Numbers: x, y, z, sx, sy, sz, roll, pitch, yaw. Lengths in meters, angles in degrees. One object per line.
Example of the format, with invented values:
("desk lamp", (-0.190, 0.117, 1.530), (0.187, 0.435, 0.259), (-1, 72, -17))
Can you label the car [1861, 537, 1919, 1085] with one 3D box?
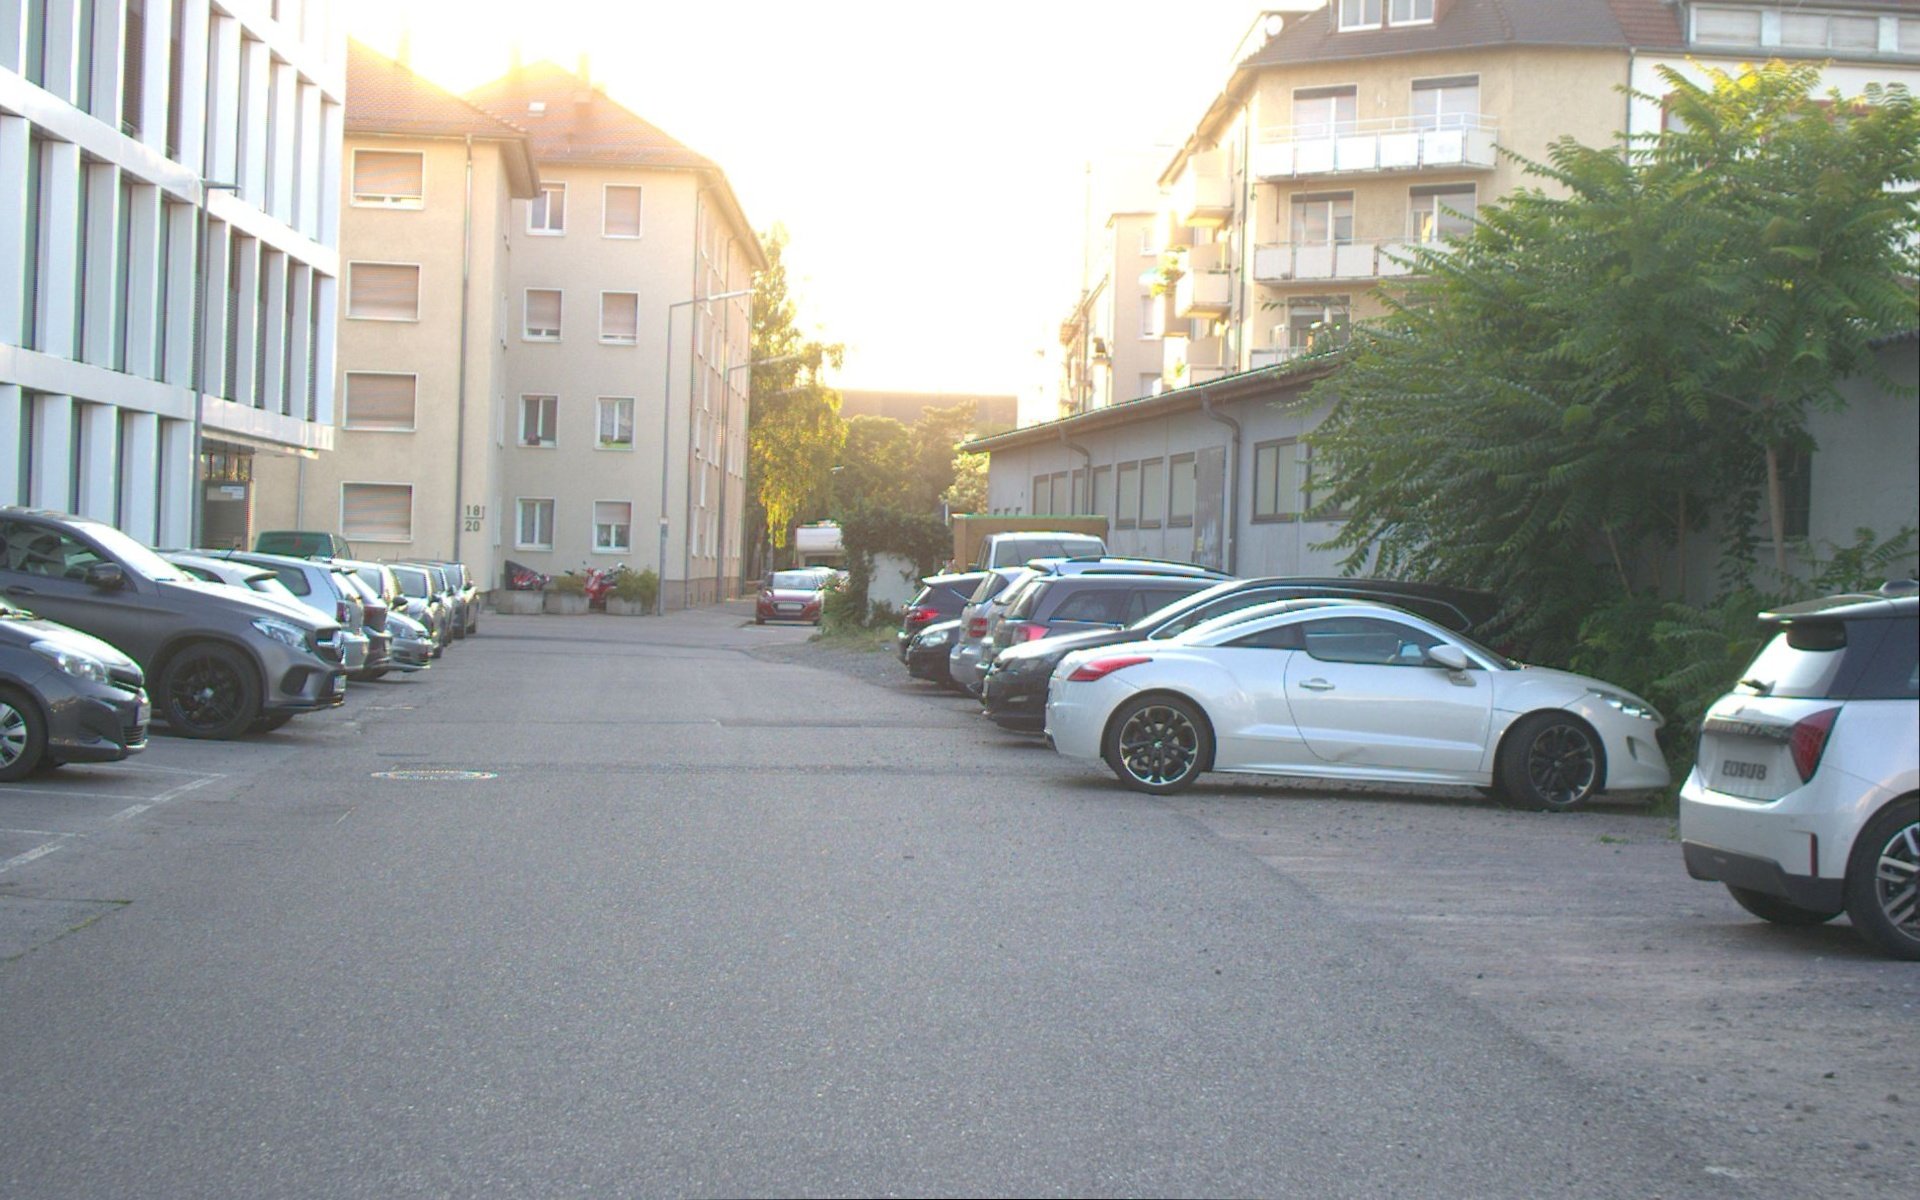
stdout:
("car", (4.783, 0.630, 9.614), (4.003, 1.558, 1.712), (1, 1, -8))

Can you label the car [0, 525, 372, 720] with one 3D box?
("car", (-7.241, 0.168, 30.476), (3.666, 1.506, 1.696), (3, 1, 1))

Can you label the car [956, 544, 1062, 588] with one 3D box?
("car", (2.237, -1.554, 157.818), (4.813, 1.961, 1.739), (1, 1, -1))

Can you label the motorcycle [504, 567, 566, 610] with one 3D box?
("motorcycle", (-11.110, -0.293, 89.892), (0.724, 1.075, 2.079), (2, 1, 20))

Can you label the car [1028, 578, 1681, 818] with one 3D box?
("car", (2.619, 0.642, 23.588), (4.202, 1.362, 1.823), (3, 1, 0))

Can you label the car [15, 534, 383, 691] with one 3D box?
("car", (-8.362, 0.122, 37.987), (3.654, 1.506, 1.688), (3, 1, -2))

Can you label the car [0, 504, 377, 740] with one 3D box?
("car", (-7.254, 0.105, 27.855), (4.619, 1.700, 2.004), (3, 1, 1))

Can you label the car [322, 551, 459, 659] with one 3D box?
("car", (-8.721, 0.046, 52.941), (1.648, 1.434, 4.185), (5, 0, -5))

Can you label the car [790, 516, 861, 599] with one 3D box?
("car", (-5.436, -1.725, 140.023), (2.620, 3.258, 7.697), (0, 1, 0))

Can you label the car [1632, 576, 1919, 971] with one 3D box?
("car", (4.813, 0.673, 14.040), (3.704, 1.474, 1.712), (1, 1, -5))

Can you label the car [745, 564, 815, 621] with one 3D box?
("car", (-4.946, -0.227, 94.719), (1.845, 1.468, 4.079), (2, 1, -2))

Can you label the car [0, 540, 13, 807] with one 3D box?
("car", (-7.059, 0.343, 16.802), (4.308, 1.490, 1.795), (3, 1, -1))

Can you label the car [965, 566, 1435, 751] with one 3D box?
("car", (2.119, 0.521, 31.142), (3.983, 1.440, 1.827), (3, 0, -3))

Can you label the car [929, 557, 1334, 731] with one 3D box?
("car", (1.775, 0.445, 36.484), (3.983, 1.604, 1.939), (3, 1, -5))

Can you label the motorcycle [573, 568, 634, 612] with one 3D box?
("motorcycle", (-9.572, -0.267, 92.439), (0.689, 1.156, 2.031), (2, 1, 24))

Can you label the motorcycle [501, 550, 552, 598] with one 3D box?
("motorcycle", (-11.616, -0.693, 92.159), (0.723, 1.260, 2.080), (2, 1, 10))

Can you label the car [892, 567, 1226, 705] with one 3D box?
("car", (1.152, 0.418, 41.292), (3.759, 1.439, 1.845), (3, 0, -5))

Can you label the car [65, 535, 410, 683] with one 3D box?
("car", (-8.425, 0.085, 40.290), (3.654, 1.506, 1.688), (3, 1, -2))

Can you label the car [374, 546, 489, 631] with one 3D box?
("car", (-10.389, -0.253, 67.846), (1.779, 1.474, 4.332), (5, 0, -4))

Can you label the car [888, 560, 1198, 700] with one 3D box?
("car", (1.013, 0.364, 43.727), (3.759, 1.530, 1.892), (3, 2, -3))

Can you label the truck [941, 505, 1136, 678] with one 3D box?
("truck", (1.012, -0.144, 47.889), (2.097, 2.193, 5.712), (2, 1, -4))

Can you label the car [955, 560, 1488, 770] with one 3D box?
("car", (2.127, 0.534, 28.836), (4.202, 1.498, 1.890), (3, 0, -2))

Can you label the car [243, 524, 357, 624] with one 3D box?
("car", (-13.955, -0.592, 72.885), (1.797, 1.973, 4.690), (2, 1, -5))

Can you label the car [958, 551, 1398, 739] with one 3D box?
("car", (2.110, 0.424, 33.965), (3.983, 1.613, 1.827), (3, 1, -7))

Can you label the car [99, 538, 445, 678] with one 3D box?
("car", (-8.530, 0.086, 42.857), (3.926, 1.506, 1.688), (3, 1, -1))

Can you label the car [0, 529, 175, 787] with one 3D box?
("car", (-7.046, 0.271, 21.739), (3.781, 1.517, 1.694), (3, 1, -4))

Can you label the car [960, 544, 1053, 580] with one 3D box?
("car", (2.030, -1.662, 150.270), (3.987, 1.525, 1.659), (1, 1, -1))
